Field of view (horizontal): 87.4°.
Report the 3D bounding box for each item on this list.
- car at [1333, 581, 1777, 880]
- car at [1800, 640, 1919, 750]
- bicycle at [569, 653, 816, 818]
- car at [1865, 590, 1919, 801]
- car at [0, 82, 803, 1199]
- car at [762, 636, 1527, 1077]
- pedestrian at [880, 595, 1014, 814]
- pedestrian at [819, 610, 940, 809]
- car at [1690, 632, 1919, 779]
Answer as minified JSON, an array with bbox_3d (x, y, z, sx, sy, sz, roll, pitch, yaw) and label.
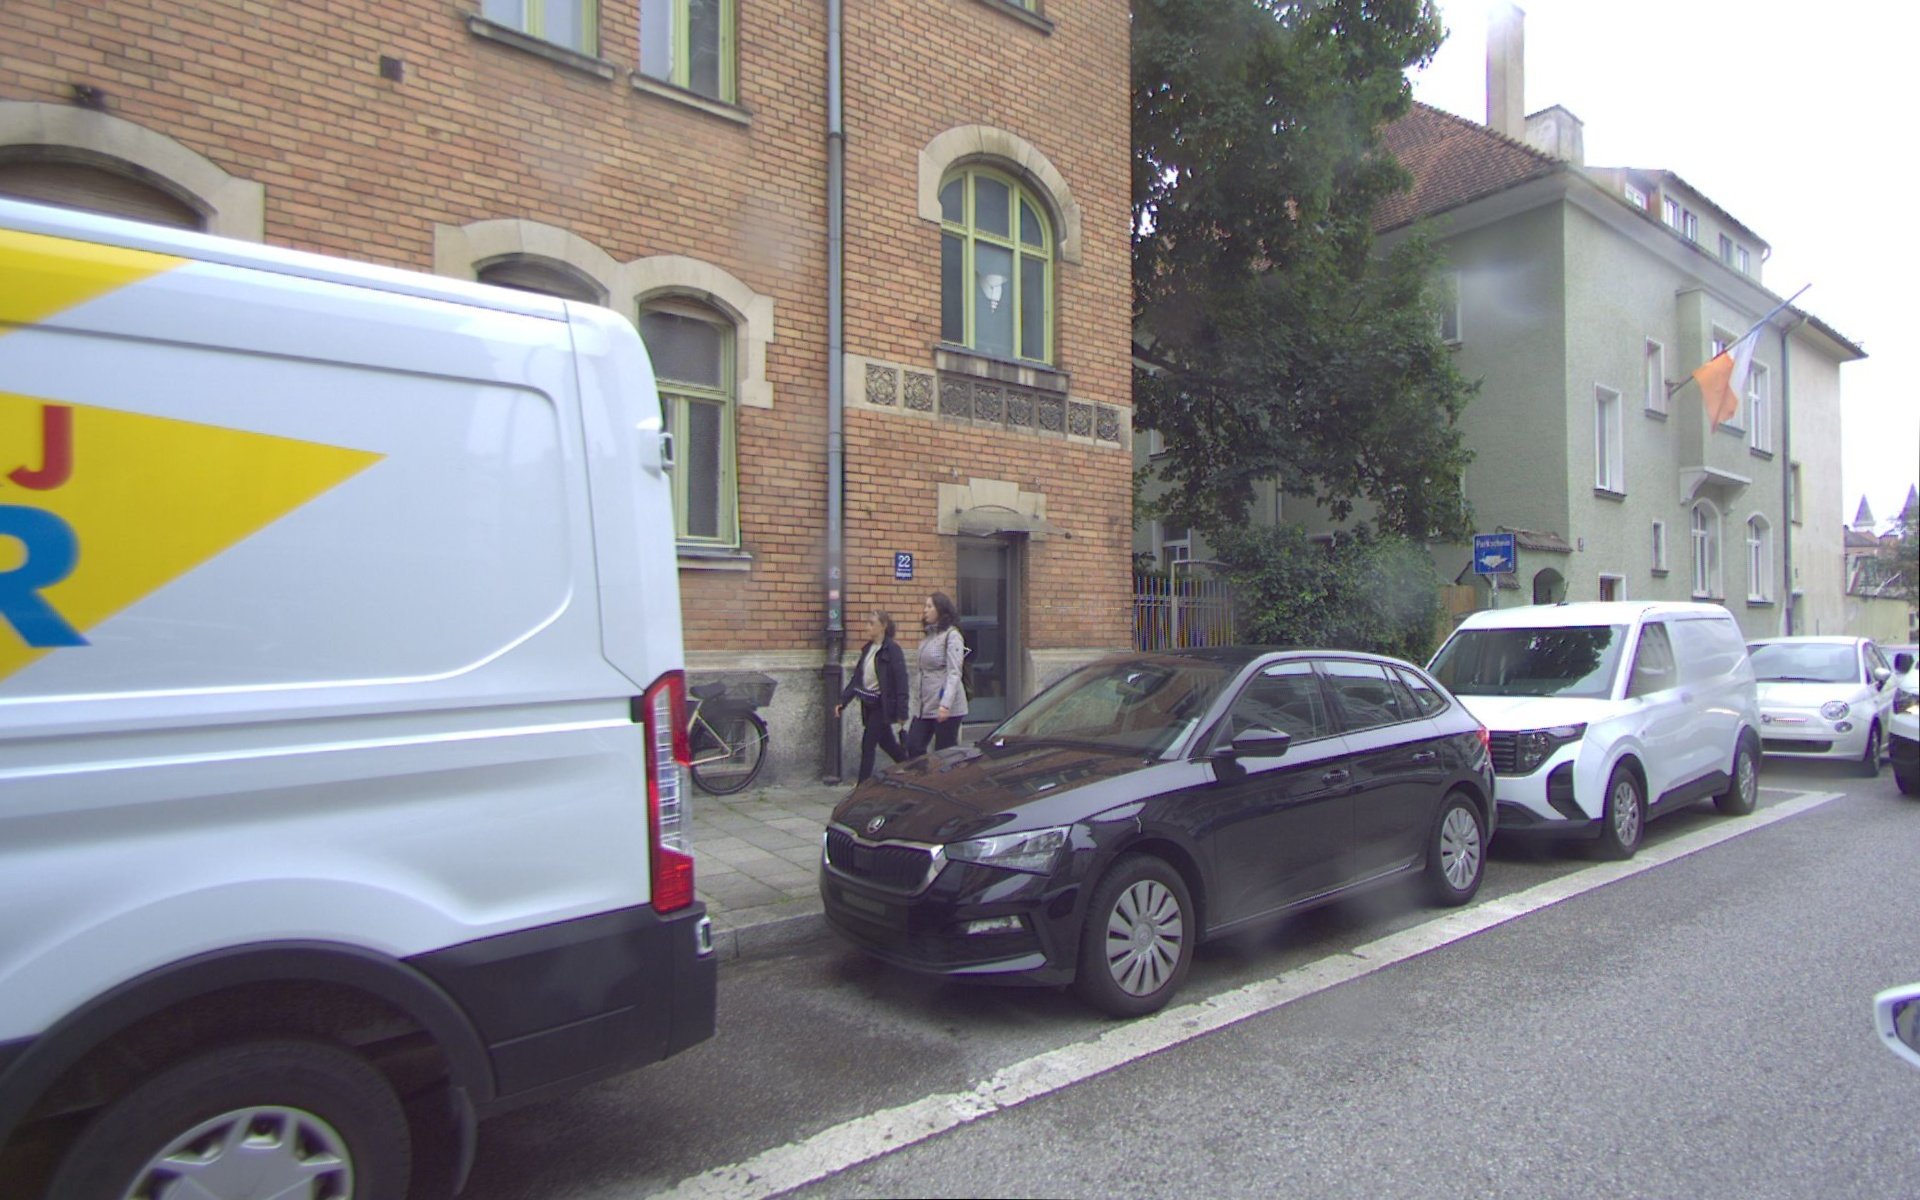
[{"bbox_3d":[4.930,0.877,8.110,4.109,1.827,1.677,1,-4,-38],"label":"car"},{"bbox_3d":[14.009,1.323,14.660,4.296,1.431,1.847,2,-5,-39],"label":"car"},{"bbox_3d":[-2.107,1.018,8.043,1.810,1.143,0.627,1,-2,-36],"label":"bicycle"},{"bbox_3d":[10.515,0.853,9.558,4.525,1.827,1.761,2,-4,-34],"label":"car"},{"bbox_3d":[-3.091,0.336,2.023,5.173,2.510,1.968,1,-4,-36],"label":"car"},{"bbox_3d":[1.191,0.959,5.349,4.107,1.461,1.678,1,-4,-37],"label":"car"},{"bbox_3d":[-0.104,0.744,7.561,0.720,1.533,0.691,2,0,-33],"label":"pedestrian"},{"bbox_3d":[-0.669,0.868,8.313,0.720,1.533,0.691,2,0,-33],"label":"pedestrian"},{"bbox_3d":[9.988,1.137,11.775,3.285,1.485,1.462,1,-4,-39],"label":"car"}]
